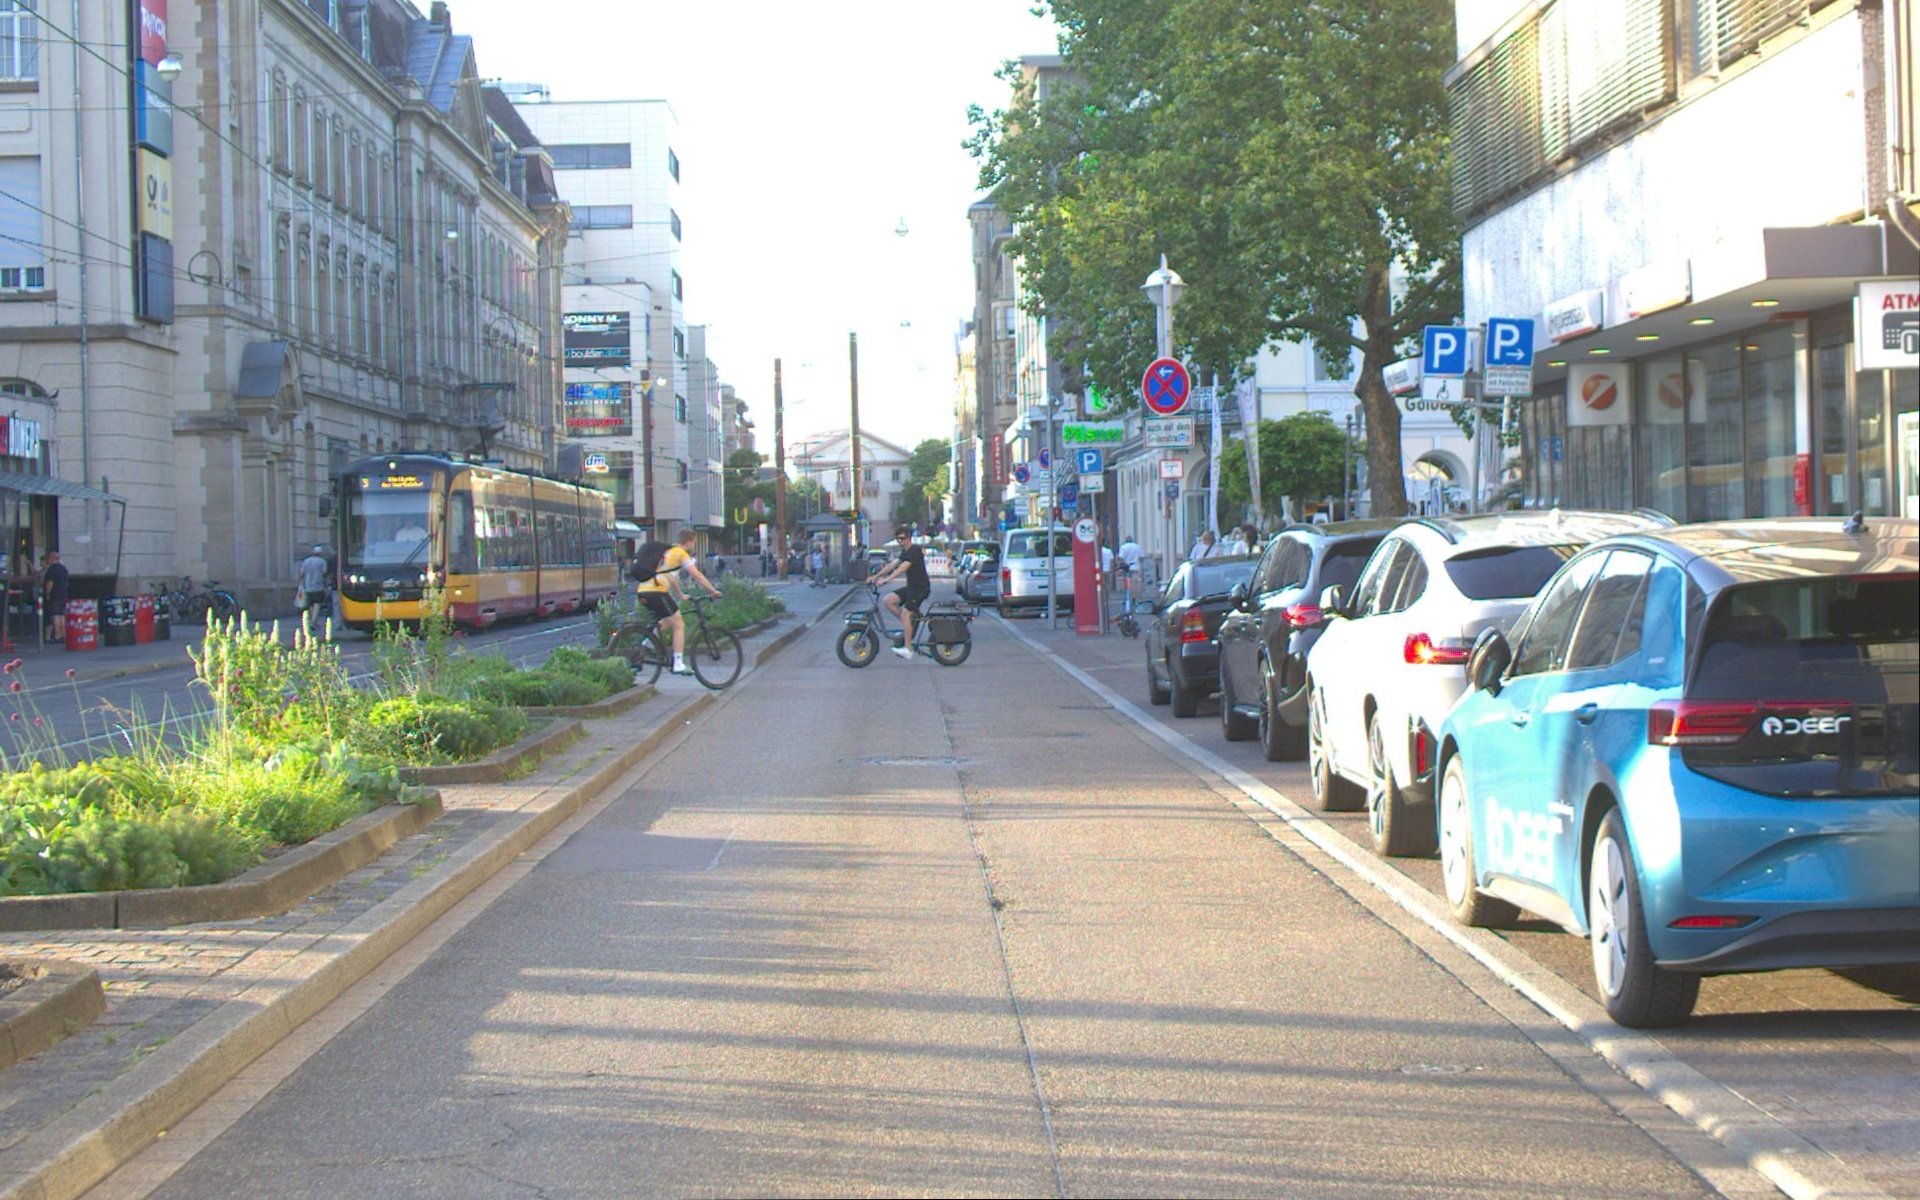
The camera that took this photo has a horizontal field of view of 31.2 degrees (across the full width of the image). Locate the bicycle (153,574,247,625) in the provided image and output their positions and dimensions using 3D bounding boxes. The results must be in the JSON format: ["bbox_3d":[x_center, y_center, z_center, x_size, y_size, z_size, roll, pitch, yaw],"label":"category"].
[{"bbox_3d":[-18.008,-0.006,81.483,2.096,1.144,0.575,-1,-1,-5],"label":"bicycle"}]

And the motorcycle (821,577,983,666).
[{"bbox_3d":[-0.765,0.288,45.245,2.043,1.120,0.568,-1,-1,-10],"label":"motorcycle"}]

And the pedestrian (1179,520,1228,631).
[{"bbox_3d":[4.031,-0.402,56.926,0.714,1.797,0.824,-2,0,2],"label":"pedestrian"}]

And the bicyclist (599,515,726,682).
[{"bbox_3d":[-3.226,-0.022,37.217,0.930,1.770,0.970,-2,1,-45],"label":"bicyclist"}]

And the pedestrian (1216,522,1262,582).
[{"bbox_3d":[6.300,-1.077,77.552,0.902,1.309,0.967,-1,-1,-1],"label":"pedestrian"}]

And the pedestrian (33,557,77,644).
[{"bbox_3d":[-17.181,-0.001,65.258,0.714,1.640,0.660,0,0,-23],"label":"pedestrian"}]

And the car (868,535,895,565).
[{"bbox_3d":[-5.291,-3.356,230.829,1.760,1.821,3.570,-1,-1,-1],"label":"car"}]

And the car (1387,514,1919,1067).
[{"bbox_3d":[2.799,0.493,12.142,1.809,1.546,4.837,-1,1,-2],"label":"car"}]

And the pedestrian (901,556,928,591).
[{"bbox_3d":[-2.527,-1.482,191.540,1.229,1.922,1.022,-1,1,-17],"label":"pedestrian"}]

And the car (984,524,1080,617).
[{"bbox_3d":[1.577,-0.664,76.634,1.915,1.975,4.421,-1,0,-1],"label":"car"}]

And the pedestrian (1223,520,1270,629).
[{"bbox_3d":[4.577,-0.396,54.942,0.678,1.711,0.654,-1,-1,2],"label":"pedestrian"}]

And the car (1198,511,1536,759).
[{"bbox_3d":[2.843,0.174,24.921,1.775,1.533,4.579,-1,2,-1],"label":"car"}]

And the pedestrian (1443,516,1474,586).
[{"bbox_3d":[9.299,-0.920,64.158,0.477,1.280,0.525,-2,-1,16],"label":"pedestrian"}]

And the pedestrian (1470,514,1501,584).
[{"bbox_3d":[9.749,-0.941,63.748,0.474,1.280,0.539,-2,-1,15],"label":"pedestrian"}]

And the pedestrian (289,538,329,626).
[{"bbox_3d":[-13.814,-0.378,72.938,0.693,1.841,0.662,-1,-1,-1],"label":"pedestrian"}]

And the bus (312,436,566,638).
[{"bbox_3d":[-10.529,-1.297,71.591,2.822,3.639,17.074,-1,1,-1],"label":"bus"}]

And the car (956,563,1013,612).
[{"bbox_3d":[0.889,-0.445,127.572,1.993,1.661,4.421,-1,-1,-1],"label":"car"}]

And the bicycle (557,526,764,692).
[{"bbox_3d":[-3.224,0.071,37.212,2.362,1.734,0.602,-2,1,-44],"label":"bicycle"}]

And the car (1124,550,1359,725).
[{"bbox_3d":[2.535,0.293,31.834,1.655,1.375,4.341,-5,1,-1],"label":"car"}]

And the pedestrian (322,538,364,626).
[{"bbox_3d":[-13.064,-0.383,72.803,0.733,1.834,0.715,-1,-1,-1],"label":"pedestrian"}]

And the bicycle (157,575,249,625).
[{"bbox_3d":[-18.084,0.003,82.149,2.077,1.144,0.575,-1,-1,-5],"label":"bicycle"}]

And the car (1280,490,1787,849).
[{"bbox_3d":[2.787,0.274,17.751,1.816,1.580,4.723,-1,1,0],"label":"car"}]

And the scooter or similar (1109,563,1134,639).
[{"bbox_3d":[2.625,0.007,55.744,0.315,1.217,1.272,-1,1,6],"label":"scooter or similar"}]

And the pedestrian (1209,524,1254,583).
[{"bbox_3d":[6.209,-1.064,78.564,0.902,1.301,0.967,-1,-1,-1],"label":"pedestrian"}]

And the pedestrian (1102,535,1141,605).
[{"bbox_3d":[4.119,-0.765,87.722,0.786,1.745,0.895,-1,-1,-8],"label":"pedestrian"}]

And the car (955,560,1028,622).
[{"bbox_3d":[0.915,-0.266,101.415,1.993,1.755,4.421,-1,0,-1],"label":"car"}]

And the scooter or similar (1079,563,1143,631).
[{"bbox_3d":[2.790,-0.056,63.423,1.125,1.212,0.300,-2,0,1],"label":"scooter or similar"}]

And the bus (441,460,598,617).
[{"bbox_3d":[-10.700,-1.446,84.252,2.822,3.612,8.289,-1,0,-1],"label":"bus"}]

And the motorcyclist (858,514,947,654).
[{"bbox_3d":[-0.764,-0.206,45.259,1.001,1.807,0.960,-1,-1,-9],"label":"motorcyclist"}]

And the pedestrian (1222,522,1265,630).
[{"bbox_3d":[4.588,-0.386,55.625,0.614,1.711,0.662,-1,-1,1],"label":"pedestrian"}]
